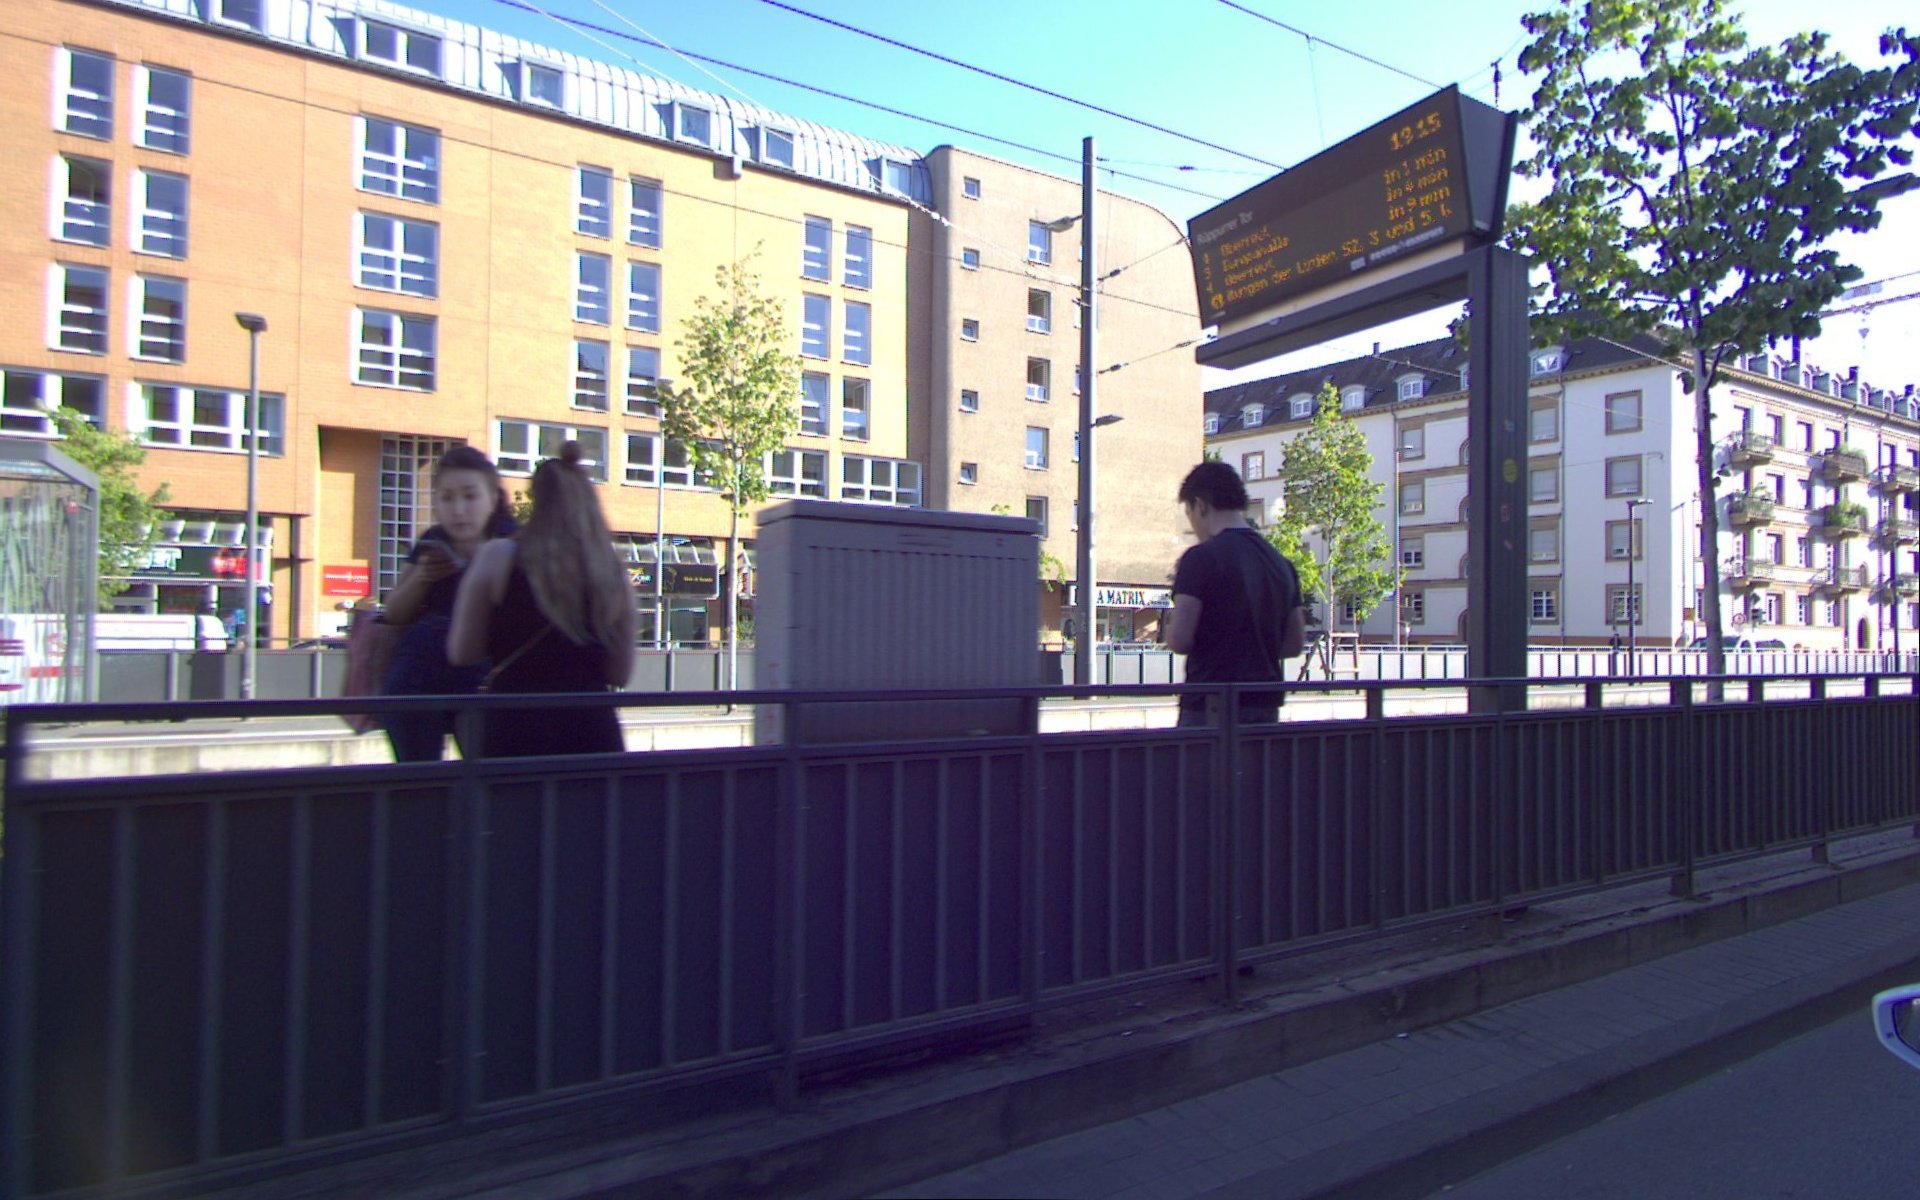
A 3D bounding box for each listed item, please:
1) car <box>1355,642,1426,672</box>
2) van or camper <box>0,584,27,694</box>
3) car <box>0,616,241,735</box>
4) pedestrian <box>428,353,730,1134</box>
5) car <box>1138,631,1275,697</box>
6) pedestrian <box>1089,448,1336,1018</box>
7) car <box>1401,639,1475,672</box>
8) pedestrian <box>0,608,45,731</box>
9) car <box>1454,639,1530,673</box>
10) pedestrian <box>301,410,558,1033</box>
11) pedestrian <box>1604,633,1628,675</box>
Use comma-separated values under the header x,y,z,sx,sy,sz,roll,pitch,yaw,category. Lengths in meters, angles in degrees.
x,y,z,sx,sy,sz,roll,pitch,yaw,category
23.769,3.120,55.409,3.960,1.521,1.825,1,-2,-35,car
-21.900,0.820,19.231,5.545,2.198,1.986,-1,-1,-29,van or camper
-15.052,1.236,17.147,4.261,1.891,1.879,1,-2,-28,car
-1.009,0.329,2.646,0.644,1.755,0.502,2,-2,-30,pedestrian
8.213,2.074,33.444,4.089,2.040,1.989,0,-2,-24,car
0.849,0.407,3.391,0.644,1.701,0.502,2,-2,-30,pedestrian
25.384,2.914,53.312,3.960,1.606,1.825,1,-2,-35,car
-9.759,0.678,9.927,0.895,1.205,0.670,2,-2,-30,pedestrian
27.179,2.839,51.294,4.090,1.606,1.825,1,-2,-35,car
-1.736,0.354,3.311,0.644,1.755,0.716,2,-2,-30,pedestrian
32.541,2.673,49.833,0.618,2.040,0.797,0,-2,-29,pedestrian
